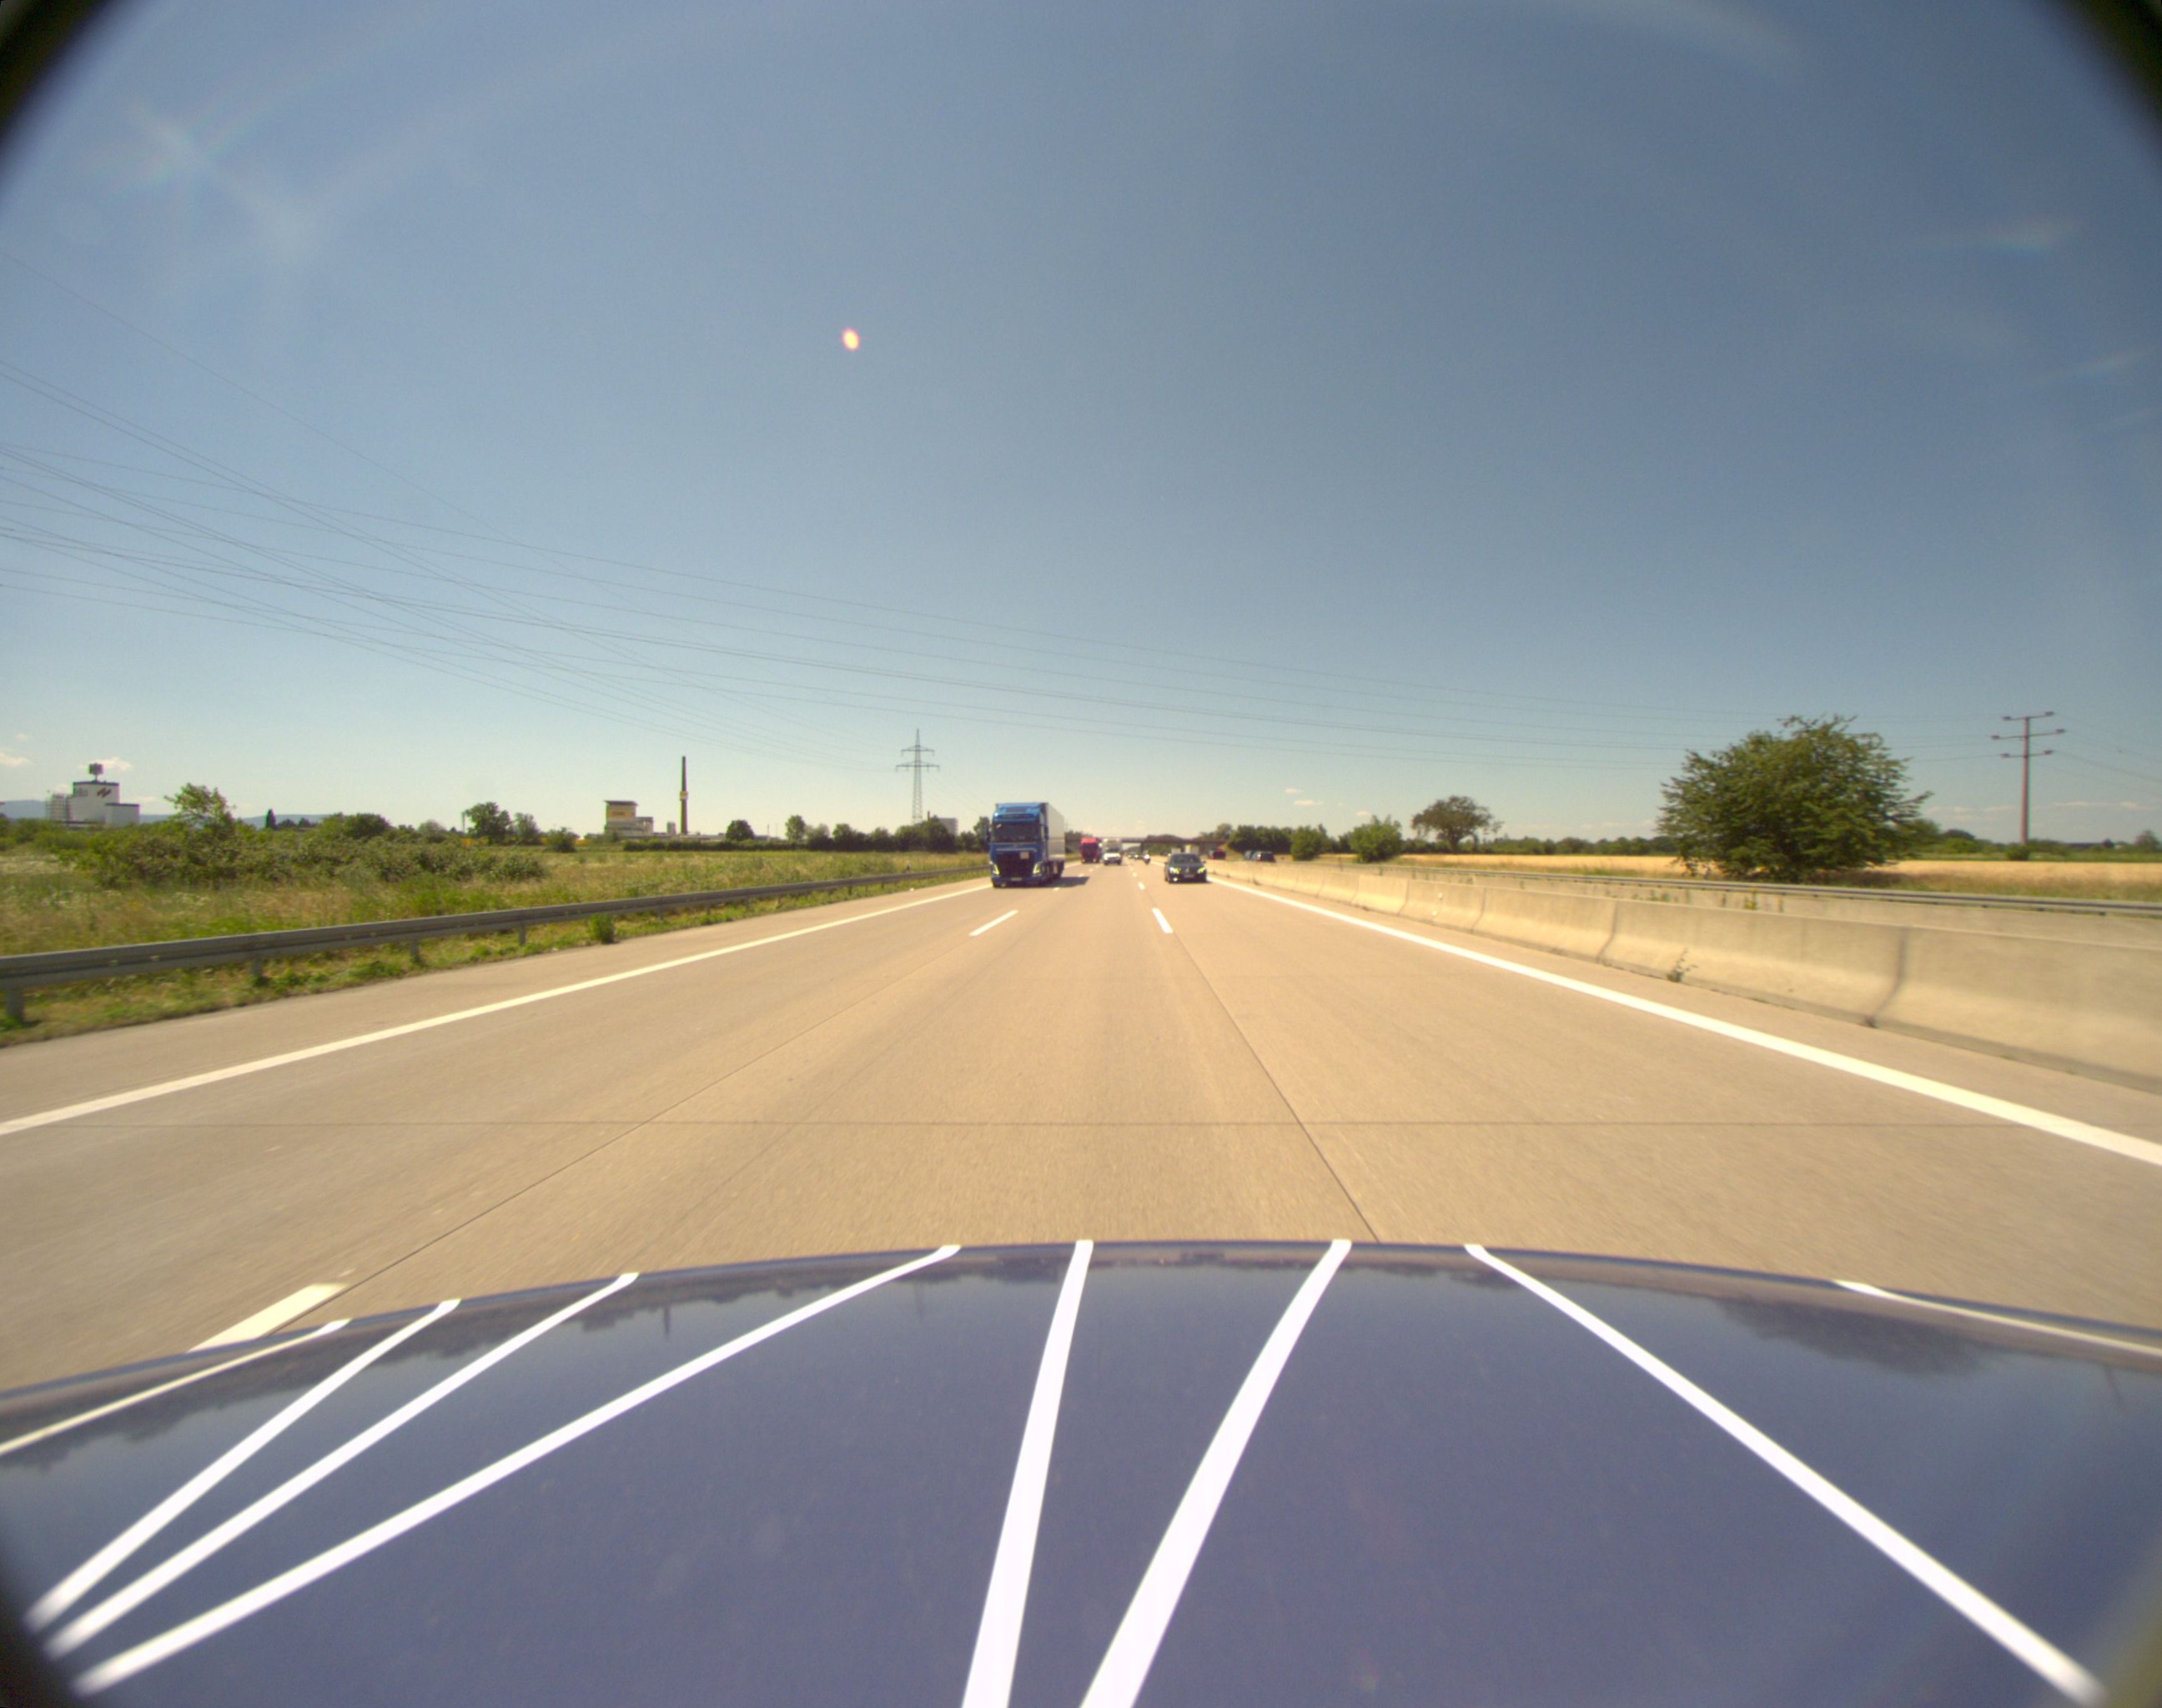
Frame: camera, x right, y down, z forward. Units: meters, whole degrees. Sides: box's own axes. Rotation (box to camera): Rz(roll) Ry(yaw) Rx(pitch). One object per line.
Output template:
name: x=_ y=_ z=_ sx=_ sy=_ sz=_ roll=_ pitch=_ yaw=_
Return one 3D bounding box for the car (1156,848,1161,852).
car: x=26.321 y=-1.318 z=257.185 sx=1.546 sy=1.156 sz=3.376 roll=-2 pitch=0 yaw=3

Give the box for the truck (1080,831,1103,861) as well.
truck: x=1.630 y=-1.252 z=116.203 sx=2.855 sy=4.298 sz=10.888 roll=-2 pitch=0 yaw=4

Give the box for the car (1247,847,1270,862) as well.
car: x=22.087 y=0.046 z=94.870 sx=2.175 sy=1.779 sz=4.001 roll=-2 pitch=0 yaw=4

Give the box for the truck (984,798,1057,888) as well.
truck: x=-2.853 y=-0.518 z=37.408 sx=2.756 sy=4.020 sz=5.467 roll=-2 pitch=1 yaw=3

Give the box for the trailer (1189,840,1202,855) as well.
trailer: x=32.725 y=-1.960 z=217.642 sx=2.826 sy=4.021 sz=12.680 roll=-2 pitch=0 yaw=4

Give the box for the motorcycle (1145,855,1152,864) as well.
motorcycle: x=8.207 y=0.701 z=92.499 sx=0.683 sy=1.046 sz=2.065 roll=-2 pitch=0 yaw=2

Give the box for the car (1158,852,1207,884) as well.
car: x=5.069 y=0.660 z=38.775 sx=1.998 sy=1.462 sz=6.348 roll=1 pitch=0 yaw=3

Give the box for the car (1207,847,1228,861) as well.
car: x=17.596 y=-0.022 z=98.021 sx=1.998 sy=1.815 sz=5.826 roll=-2 pitch=0 yaw=4

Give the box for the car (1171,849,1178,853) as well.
car: x=22.860 y=-0.741 z=186.066 sx=1.524 sy=1.047 sz=3.524 roll=-2 pitch=0 yaw=5

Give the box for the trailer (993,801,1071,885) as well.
trailer: x=-2.488 y=-0.568 z=43.553 sx=2.715 sy=4.020 sz=12.904 roll=-2 pitch=0 yaw=3

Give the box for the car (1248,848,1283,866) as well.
car: x=15.803 y=0.222 z=65.317 sx=1.998 sy=1.440 sz=4.683 roll=-2 pitch=0 yaw=3

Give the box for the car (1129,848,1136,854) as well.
car: x=12.897 y=-0.727 z=190.809 sx=1.682 sy=1.444 sz=3.565 roll=-2 pitch=0 yaw=4

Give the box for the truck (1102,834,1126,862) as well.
truck: x=4.242 y=-0.808 z=97.197 sx=2.783 sy=3.328 sz=7.814 roll=-2 pitch=0 yaw=4

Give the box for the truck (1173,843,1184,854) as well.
truck: x=28.838 y=-1.535 z=225.423 sx=2.553 sy=3.124 sz=7.924 roll=-1 pitch=0 yaw=3

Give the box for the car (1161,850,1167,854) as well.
car: x=25.383 y=-0.673 z=232.558 sx=1.850 sy=1.343 sz=4.494 roll=0 pitch=0 yaw=4

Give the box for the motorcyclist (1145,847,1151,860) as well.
motorcyclist: x=8.181 y=-0.032 z=92.508 sx=0.672 sy=1.552 sz=0.775 roll=-2 pitch=1 yaw=2

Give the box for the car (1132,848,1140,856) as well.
car: x=10.865 y=-0.393 z=149.173 sx=1.557 sy=1.440 sz=3.777 roll=-2 pitch=0 yaw=5
